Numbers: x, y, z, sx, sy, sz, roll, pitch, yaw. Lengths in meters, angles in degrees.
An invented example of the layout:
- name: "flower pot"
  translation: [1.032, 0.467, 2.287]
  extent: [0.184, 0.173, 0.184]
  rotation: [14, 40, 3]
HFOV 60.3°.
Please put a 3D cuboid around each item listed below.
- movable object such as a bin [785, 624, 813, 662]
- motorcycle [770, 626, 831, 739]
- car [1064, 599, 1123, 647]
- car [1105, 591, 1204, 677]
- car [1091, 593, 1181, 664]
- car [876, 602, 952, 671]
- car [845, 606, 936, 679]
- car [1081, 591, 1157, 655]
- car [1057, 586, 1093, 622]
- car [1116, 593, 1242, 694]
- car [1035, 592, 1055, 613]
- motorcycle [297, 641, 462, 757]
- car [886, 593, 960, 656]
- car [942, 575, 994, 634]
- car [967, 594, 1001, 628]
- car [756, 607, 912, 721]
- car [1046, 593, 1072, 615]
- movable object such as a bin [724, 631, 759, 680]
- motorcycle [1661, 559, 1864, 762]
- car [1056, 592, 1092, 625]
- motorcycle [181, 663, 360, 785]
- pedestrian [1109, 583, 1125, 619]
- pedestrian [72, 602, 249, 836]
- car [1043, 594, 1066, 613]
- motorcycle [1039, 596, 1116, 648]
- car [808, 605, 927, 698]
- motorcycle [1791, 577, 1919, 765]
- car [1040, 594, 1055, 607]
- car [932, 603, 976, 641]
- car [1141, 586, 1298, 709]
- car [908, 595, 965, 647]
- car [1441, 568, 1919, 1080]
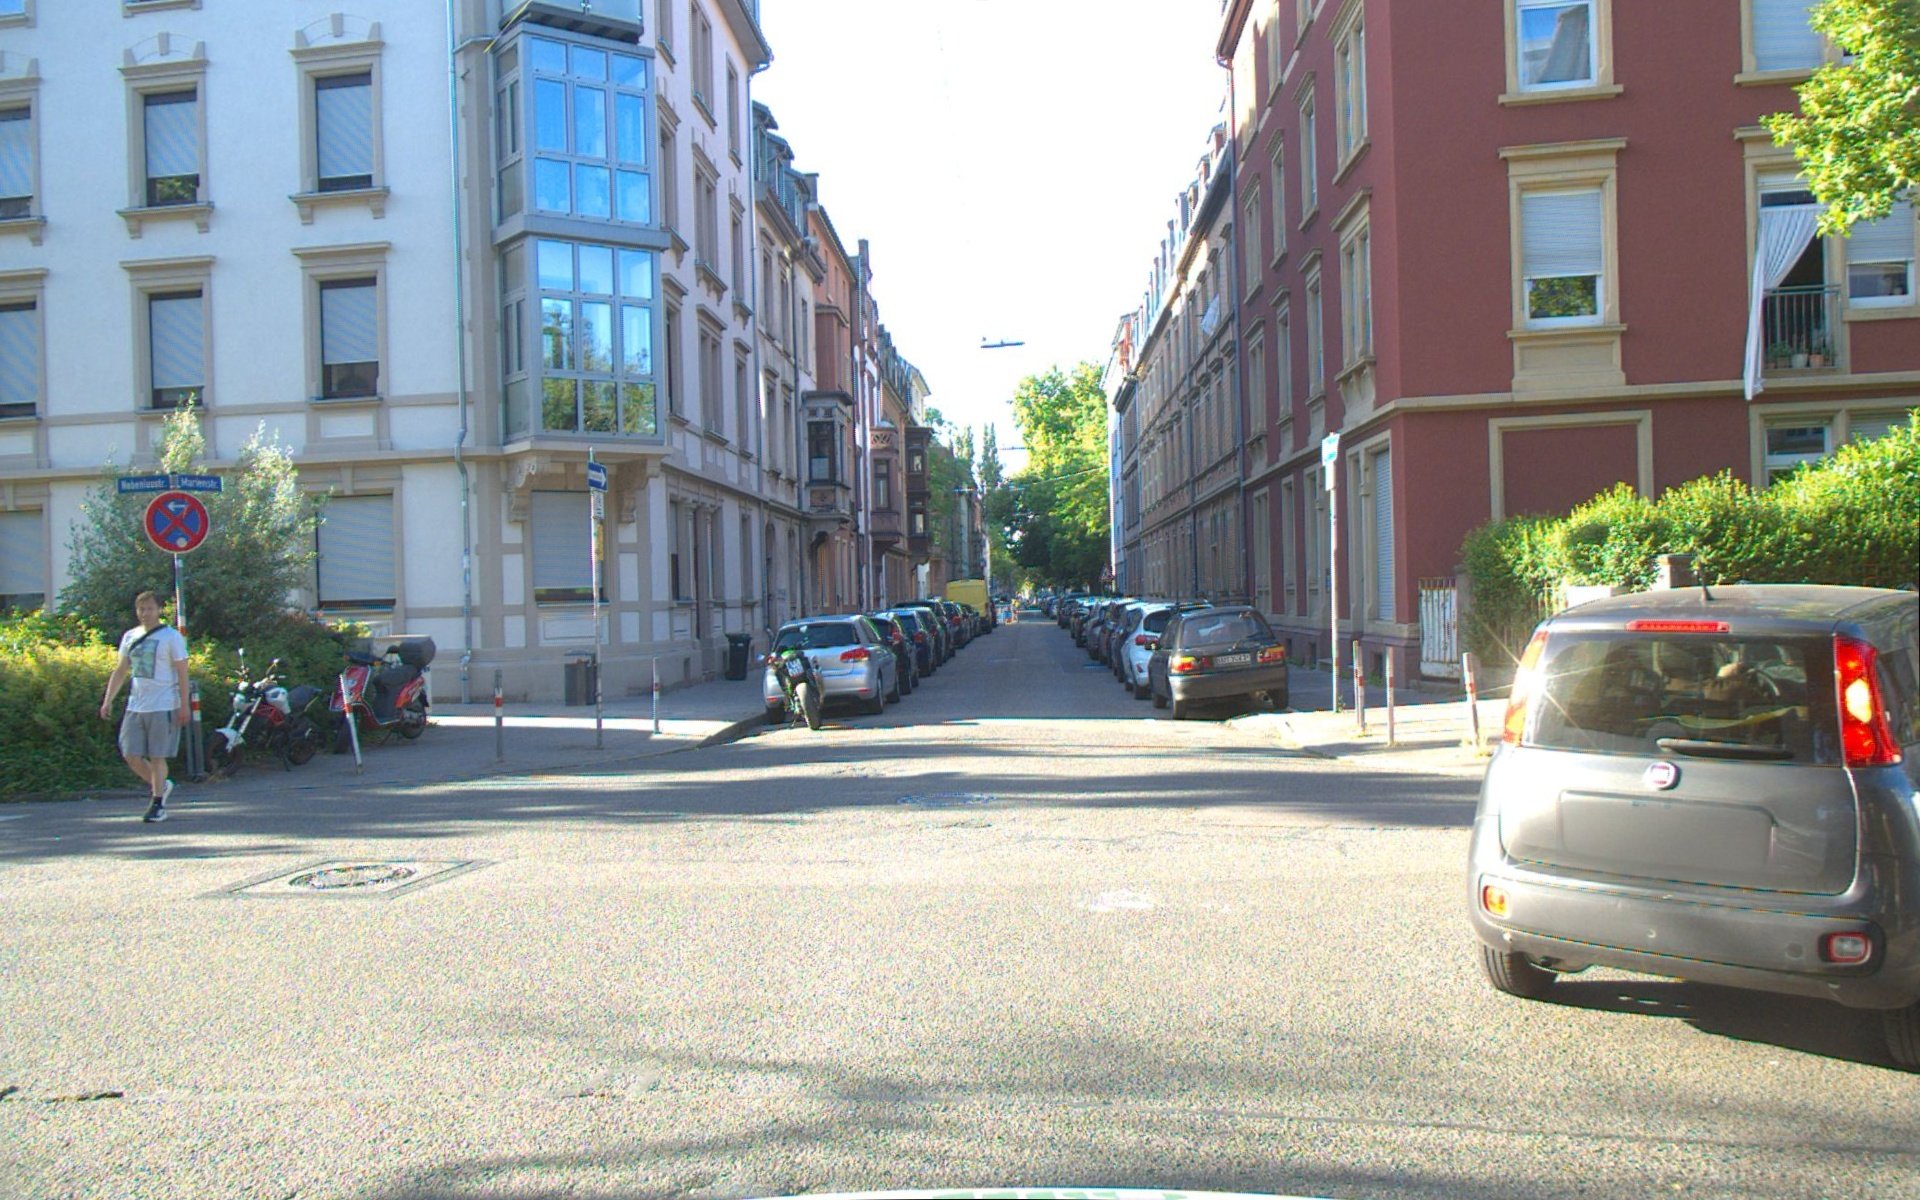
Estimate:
- name: "movable object such as a bin"
  translation: [-4.190, 1.114, 42.956]
  extent: [0.600, 0.936, 0.734]
  rotation: [-2, 0, 2]
- name: "motorcycle"
  translation: [-2.119, 1.065, 22.134]
  extent: [0.663, 1.357, 1.999]
  rotation: [-5, 0, -4]
- name: "car"
  translation: [4.296, 0.714, 53.653]
  extent: [1.740, 1.421, 4.319]
  rotation: [-2, 0, 3]
- name: "car"
  translation: [3.812, 0.632, 32.972]
  extent: [1.642, 1.529, 4.070]
  rotation: [-2, 0, 3]
- name: "car"
  translation: [4.024, 0.618, 38.342]
  extent: [1.625, 1.505, 4.025]
  rotation: [-2, 0, 0]
- name: "car"
  translation: [-1.122, 0.878, 41.597]
  extent: [1.609, 1.480, 3.840]
  rotation: [-5, 0, 1]
- name: "car"
  translation: [-1.483, 0.893, 36.501]
  extent: [1.744, 1.427, 3.743]
  rotation: [-2, 0, 1]
- name: "car"
  translation: [4.107, 0.567, 43.284]
  extent: [1.725, 1.509, 4.403]
  rotation: [-2, 0, 3]
- name: "car"
  translation: [6.365, 0.189, 91.805]
  extent: [1.718, 1.817, 4.725]
  rotation: [-5, 0, 2]
- name: "car"
  translation: [3.545, 0.657, 27.402]
  extent: [1.670, 1.488, 3.971]
  rotation: [-2, 0, 2]
- name: "car"
  translation: [10.164, 0.312, 197.622]
  extent: [2.116, 2.295, 4.526]
  rotation: [-2, 0, 1]
- name: "motorcycle"
  translation: [-6.723, 1.124, 19.262]
  extent: [0.599, 1.217, 2.044]
  rotation: [-2, -1, 22]
- name: "car"
  translation: [-1.005, 0.652, 46.782]
  extent: [1.724, 1.645, 4.191]
  rotation: [-2, 0, 3]
- name: "car"
  translation: [0.415, 0.207, 78.591]
  extent: [2.130, 2.551, 5.880]
  rotation: [-4, 0, 2]
- name: "car"
  translation: [1.316, 0.604, 93.246]
  extent: [1.781, 1.797, 4.335]
  rotation: [-2, 0, 0]
- name: "car"
  translation: [-1.847, 0.919, 25.412]
  extent: [1.743, 1.509, 3.934]
  rotation: [-2, 0, 5]
- name: "car"
  translation: [7.519, 0.300, 125.900]
  extent: [1.688, 1.549, 4.000]
  rotation: [-3, 0, 0]
- name: "movable object such as a bin"
  translation: [-4.435, 1.127, 33.554]
  extent: [0.608, 0.972, 0.511]
  rotation: [-1, 0, 2]
- name: "motorcycle"
  translation: [6.810, 0.448, 14.211]
  extent: [0.853, 1.551, 2.625]
  rotation: [-2, 1, 11]
- name: "car"
  translation: [5.958, 0.428, 86.377]
  extent: [1.718, 1.477, 4.290]
  rotation: [-6, 0, 4]
- name: "motorcycle"
  translation: [-7.055, 1.247, 17.020]
  extent: [0.626, 1.109, 1.871]
  rotation: [-2, -1, 17]
- name: "pedestrian"
  translation: [7.383, 0.038, 77.817]
  extent: [0.639, 1.659, 0.881]
  rotation: [-4, -1, 6]
- name: "pedestrian"
  translation: [-6.391, 0.925, 13.265]
  extent: [0.785, 1.776, 1.007]
  rotation: [-2, 0, 9]
- name: "car"
  translation: [8.398, 0.317, 147.173]
  extent: [1.855, 1.653, 4.001]
  rotation: [-2, 0, 2]
- name: "motorcycle"
  translation: [3.605, 0.653, 50.733]
  extent: [2.190, 1.563, 0.884]
  rotation: [0, 0, -24]
- name: "car"
  translation: [-1.624, 0.893, 30.234]
  extent: [1.744, 1.509, 3.744]
  rotation: [-2, 0, 3]
- name: "motorcycle"
  translation: [7.912, 0.539, 13.999]
  extent: [0.850, 1.429, 2.545]
  rotation: [-2, 0, 11]
- name: "car"
  translation: [12.407, 0.103, 235.246]
  extent: [1.952, 1.758, 4.001]
  rotation: [-3, 0, 2]
- name: "car"
  translation: [-0.231, 0.867, 67.205]
  extent: [1.585, 1.349, 3.613]
  rotation: [-5, 0, 2]
- name: "car"
  translation: [3.499, 0.597, 22.879]
  extent: [1.634, 1.509, 3.707]
  rotation: [-2, 0, 1]
- name: "car"
  translation: [-0.762, 0.689, 56.456]
  extent: [1.744, 1.634, 4.070]
  rotation: [-2, 0, 1]
- name: "car"
  translation: [3.478, 0.646, 6.705]
  extent: [1.609, 1.509, 3.513]
  rotation: [-2, 0, 41]
